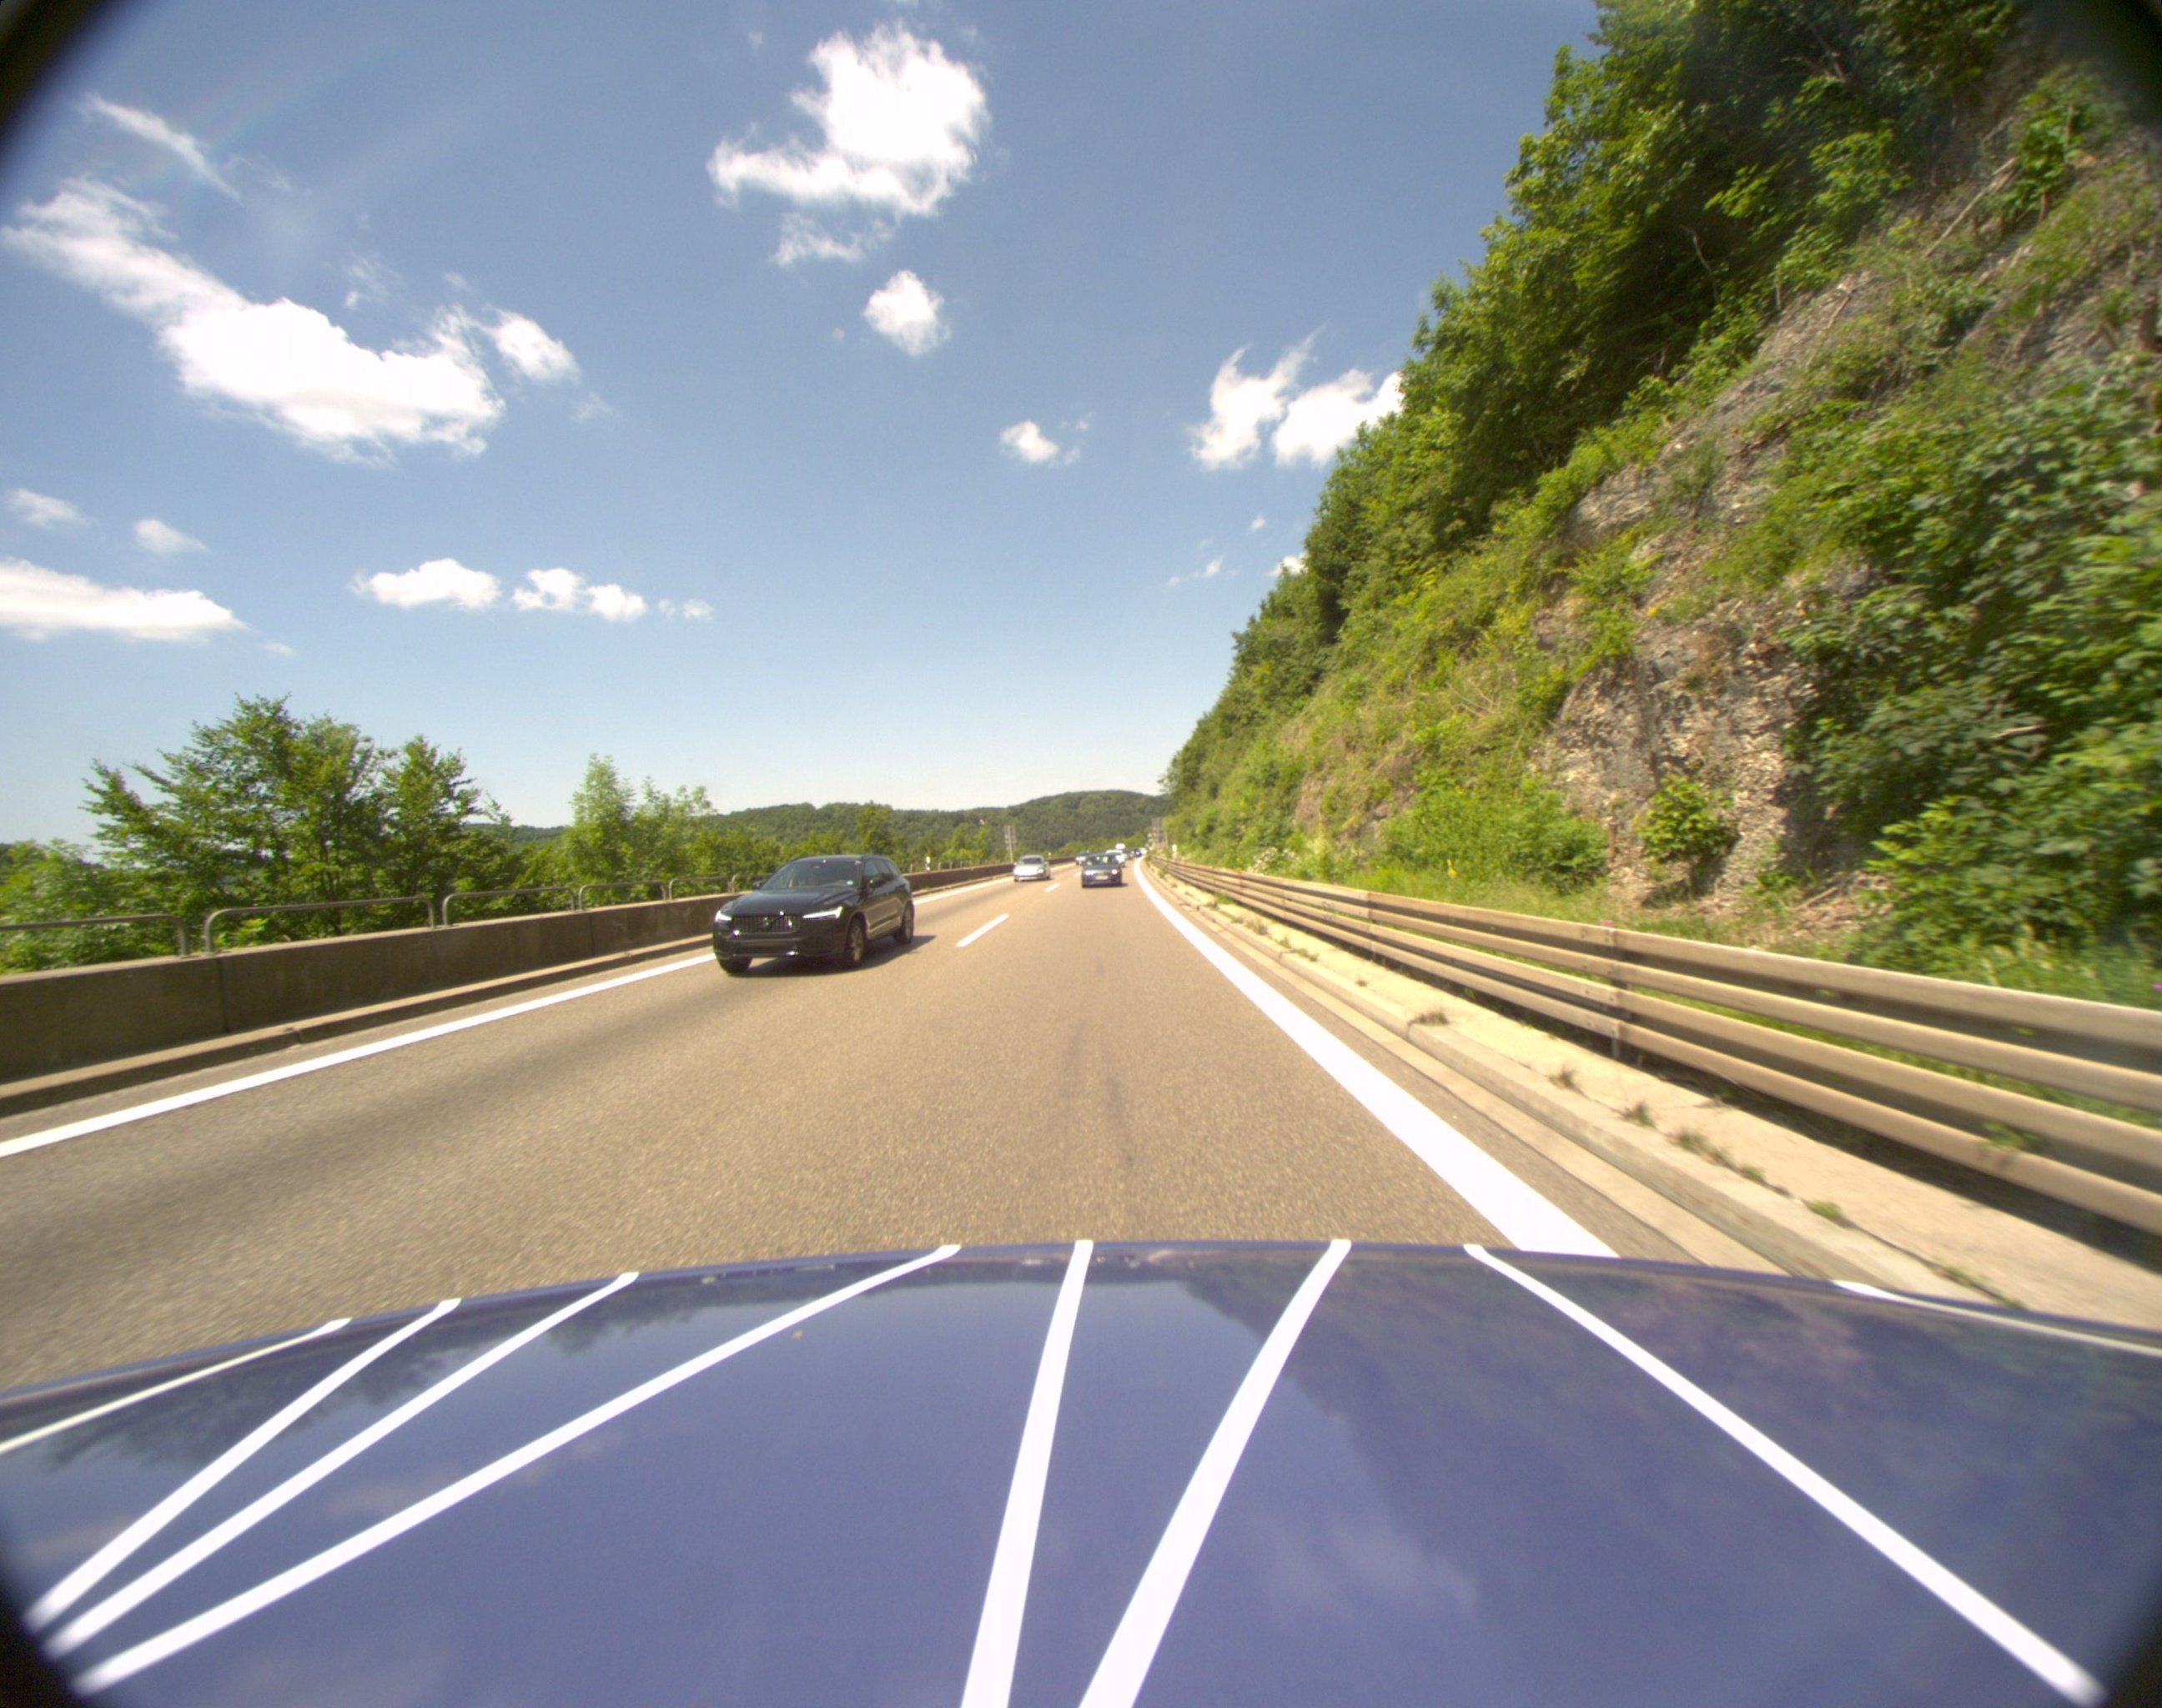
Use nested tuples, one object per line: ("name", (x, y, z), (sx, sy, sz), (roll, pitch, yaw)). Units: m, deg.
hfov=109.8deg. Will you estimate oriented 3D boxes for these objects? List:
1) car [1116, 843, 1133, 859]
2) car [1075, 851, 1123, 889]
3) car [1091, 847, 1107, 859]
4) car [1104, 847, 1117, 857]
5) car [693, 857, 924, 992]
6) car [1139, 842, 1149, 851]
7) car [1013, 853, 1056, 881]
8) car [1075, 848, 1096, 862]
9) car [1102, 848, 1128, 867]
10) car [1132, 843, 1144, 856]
("car", (5.752, -0.423, 100.523), (1.998, 2.002, 4.000), (-2, 1, 2))
("car", (0.845, 0.636, 32.874), (1.668, 1.415, 4.045), (-1, 2, 7))
("car", (2.566, -0.140, 108.082), (1.775, 1.565, 4.002), (-2, 1, 7))
("car", (4.869, -0.354, 125.309), (1.775, 1.565, 4.002), (-2, 1, 7))
("car", (-3.991, 0.925, 12.116), (1.839, 1.624, 4.662), (-2, 1, 2))
("car", (14.864, -1.710, 178.807), (1.997, 2.002, 4.003), (-2, 1, 10))
("car", (-2.609, 0.725, 43.495), (1.972, 1.370, 4.293), (-2, 1, 2))
("car", (0.579, 0.079, 88.086), (1.874, 1.565, 4.002), (-2, 1, 7))
("car", (2.853, 0.268, 64.066), (1.998, 1.543, 4.000), (-2, 1, 1))
("car", (9.772, -0.794, 130.008), (1.998, 2.002, 4.001), (-2, 1, 4))
